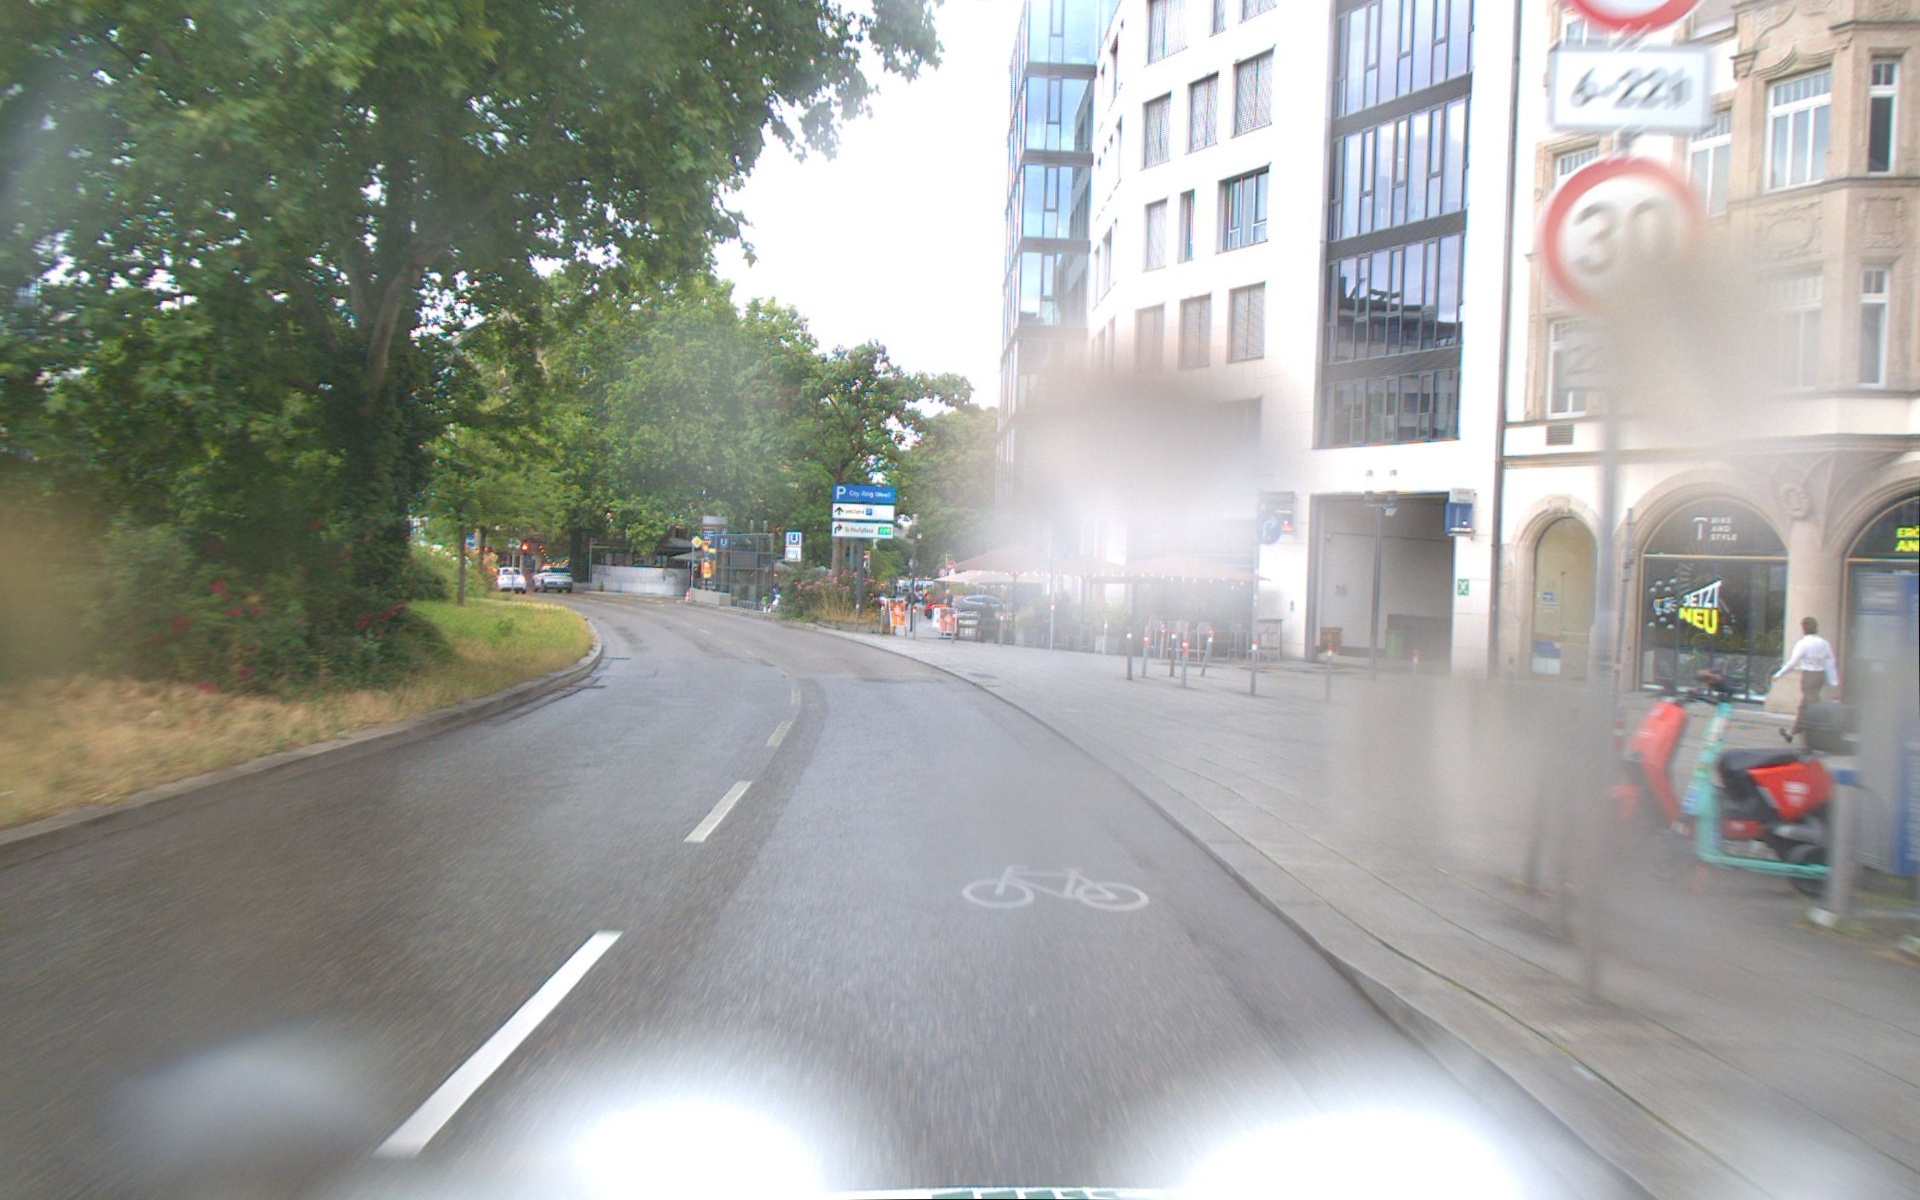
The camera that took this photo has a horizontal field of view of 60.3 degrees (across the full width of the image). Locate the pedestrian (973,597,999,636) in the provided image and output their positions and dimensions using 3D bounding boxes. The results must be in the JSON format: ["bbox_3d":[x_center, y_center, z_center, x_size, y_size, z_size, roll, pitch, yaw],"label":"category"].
[{"bbox_3d":[0.960,0.610,61.095,0.801,1.349,0.635,4,0,-5],"label":"pedestrian"}]

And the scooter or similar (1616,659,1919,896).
[{"bbox_3d":[4.874,1.039,9.749,1.758,1.265,0.595,3,-1,-7],"label":"scooter or similar"}]

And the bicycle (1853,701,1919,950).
[{"bbox_3d":[5.338,1.112,7.932,1.760,1.127,0.669,3,-1,-7],"label":"bicycle"}]

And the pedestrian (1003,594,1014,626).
[{"bbox_3d":[2.194,0.432,74.796,0.426,1.428,0.478,1,0,-3],"label":"pedestrian"}]

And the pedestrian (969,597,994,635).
[{"bbox_3d":[0.810,0.602,61.872,0.801,1.349,0.635,4,0,-5],"label":"pedestrian"}]

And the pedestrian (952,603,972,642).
[{"bbox_3d":[0.077,0.788,59.133,0.594,1.349,0.567,4,0,-5],"label":"pedestrian"}]

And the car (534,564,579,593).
[{"bbox_3d":[-25.137,-1.350,103.038,1.922,1.695,4.312,2,0,-24],"label":"car"}]

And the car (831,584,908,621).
[{"bbox_3d":[-4.953,0.125,90.061,4.019,1.649,1.860,5,-1,-6],"label":"car"}]

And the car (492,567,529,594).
[{"bbox_3d":[-26.506,-1.158,97.432,1.569,1.517,3.478,-1,1,-24],"label":"car"}]

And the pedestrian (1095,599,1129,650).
[{"bbox_3d":[4.225,0.667,46.004,0.759,1.349,0.635,4,0,-6],"label":"pedestrian"}]

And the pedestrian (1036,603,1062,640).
[{"bbox_3d":[3.339,0.803,62.015,0.801,1.349,0.635,4,0,-6],"label":"pedestrian"}]

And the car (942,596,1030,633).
[{"bbox_3d":[1.416,0.764,90.117,4.639,1.720,2.004,3,1,-2],"label":"car"}]

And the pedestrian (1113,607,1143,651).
[{"bbox_3d":[5.289,0.915,52.152,0.619,1.349,0.631,4,0,-26],"label":"pedestrian"}]

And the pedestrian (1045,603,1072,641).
[{"bbox_3d":[3.638,0.810,61.139,0.801,1.349,0.635,4,0,-5],"label":"pedestrian"}]

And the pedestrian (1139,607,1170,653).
[{"bbox_3d":[5.933,0.920,50.418,0.619,1.349,0.631,4,0,-26],"label":"pedestrian"}]

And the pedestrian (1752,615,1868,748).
[{"bbox_3d":[12.725,1.202,24.781,0.857,1.869,1.244,4,-1,-15],"label":"pedestrian"}]

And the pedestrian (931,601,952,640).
[{"bbox_3d":[-0.660,0.721,59.078,0.594,1.349,0.567,4,0,-5],"label":"pedestrian"}]

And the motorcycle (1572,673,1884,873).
[{"bbox_3d":[4.980,1.113,10.764,1.758,1.159,0.595,3,-1,-7],"label":"motorcycle"}]

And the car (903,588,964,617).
[{"bbox_3d":[-1.565,0.154,98.136,1.602,1.440,3.471,4,0,-45],"label":"car"}]

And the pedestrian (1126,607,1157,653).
[{"bbox_3d":[5.614,0.924,51.219,0.619,1.349,0.631,4,0,-26],"label":"pedestrian"}]

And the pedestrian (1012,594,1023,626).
[{"bbox_3d":[2.622,0.442,75.208,0.426,1.428,0.478,1,0,-3],"label":"pedestrian"}]
